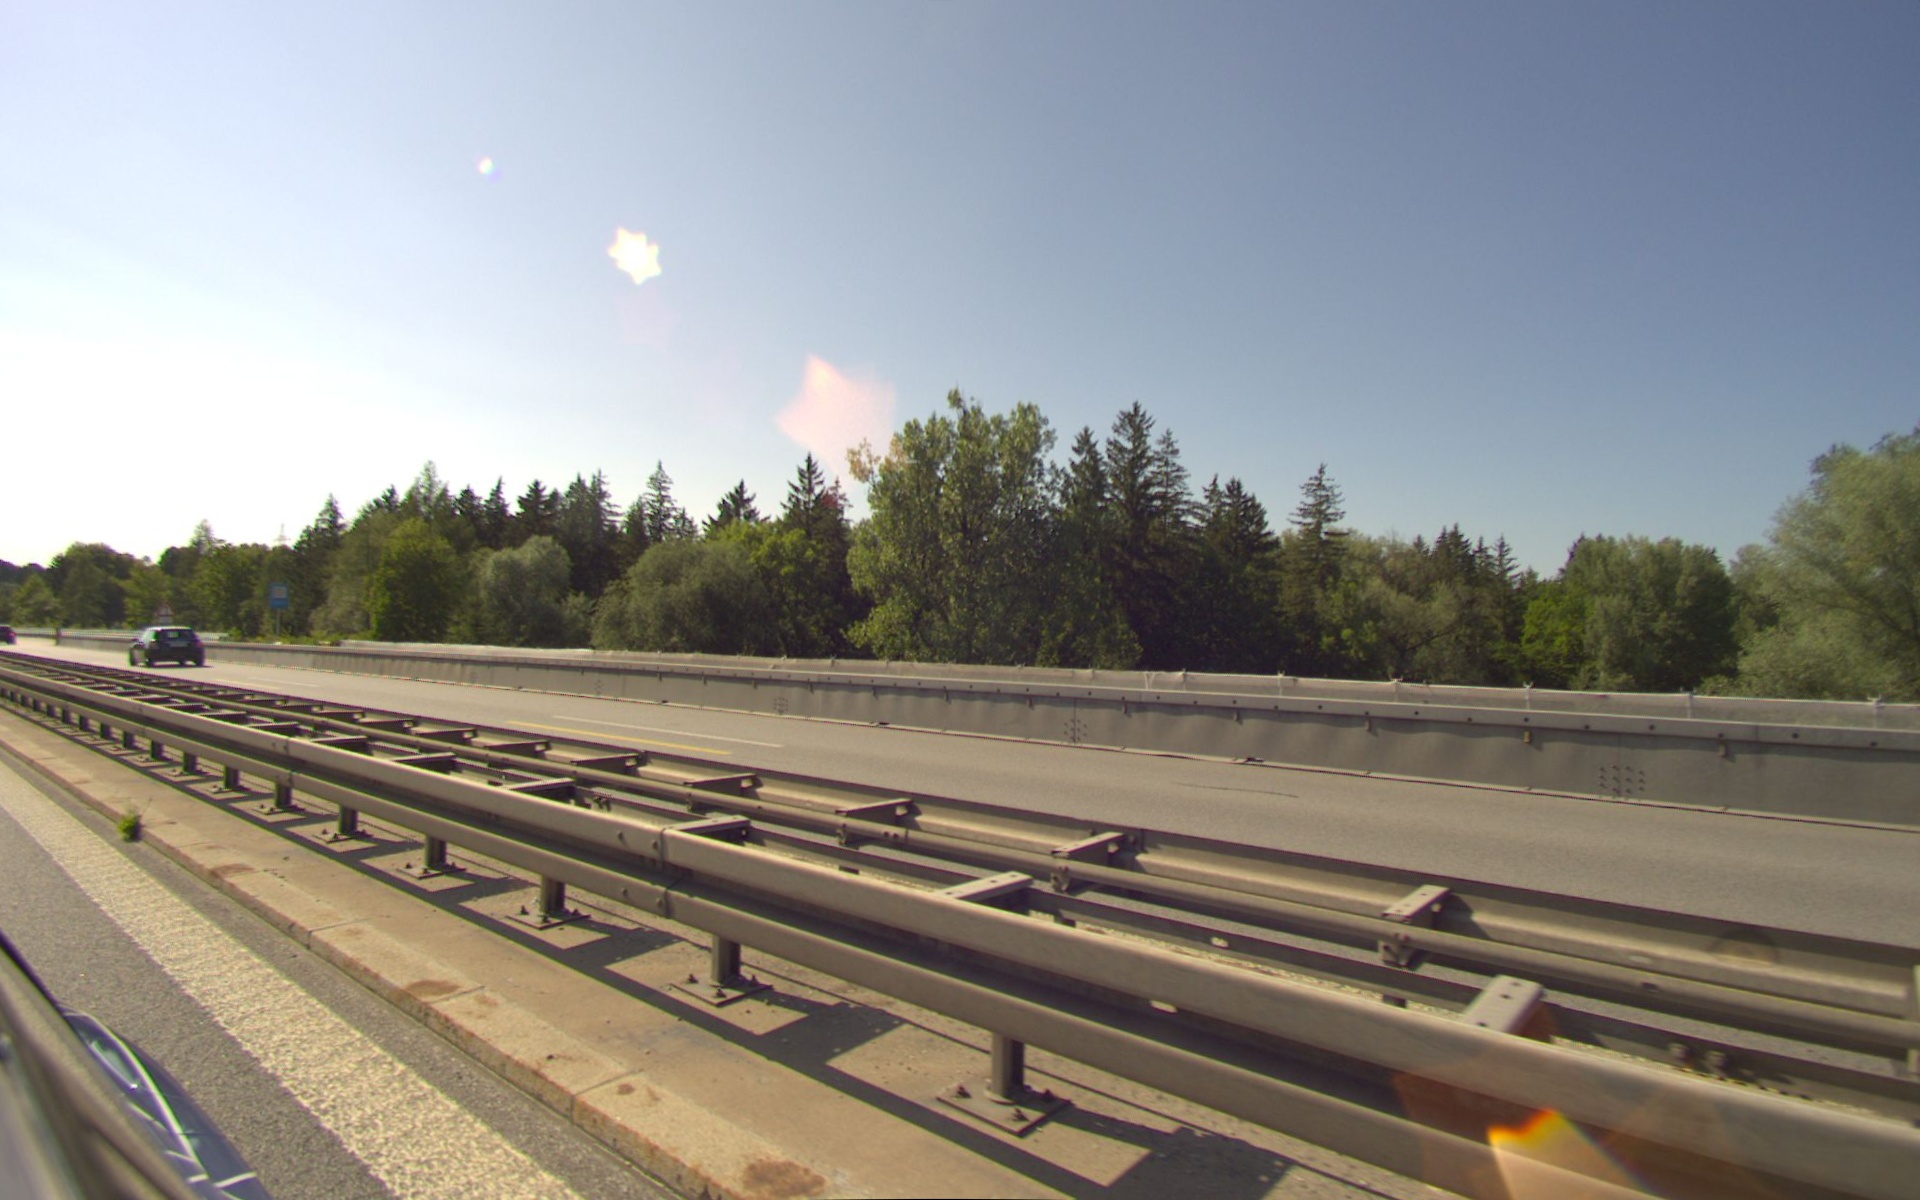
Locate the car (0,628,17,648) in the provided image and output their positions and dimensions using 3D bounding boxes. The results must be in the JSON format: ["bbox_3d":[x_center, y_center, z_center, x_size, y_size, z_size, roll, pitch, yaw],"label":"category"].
[{"bbox_3d":[-69.594,2.730,73.154,4.807,1.387,1.628,-2,-2,42],"label":"car"}]

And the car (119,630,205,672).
[{"bbox_3d":[-28.853,1.803,36.563,4.190,1.404,1.665,-1,-2,41],"label":"car"}]
